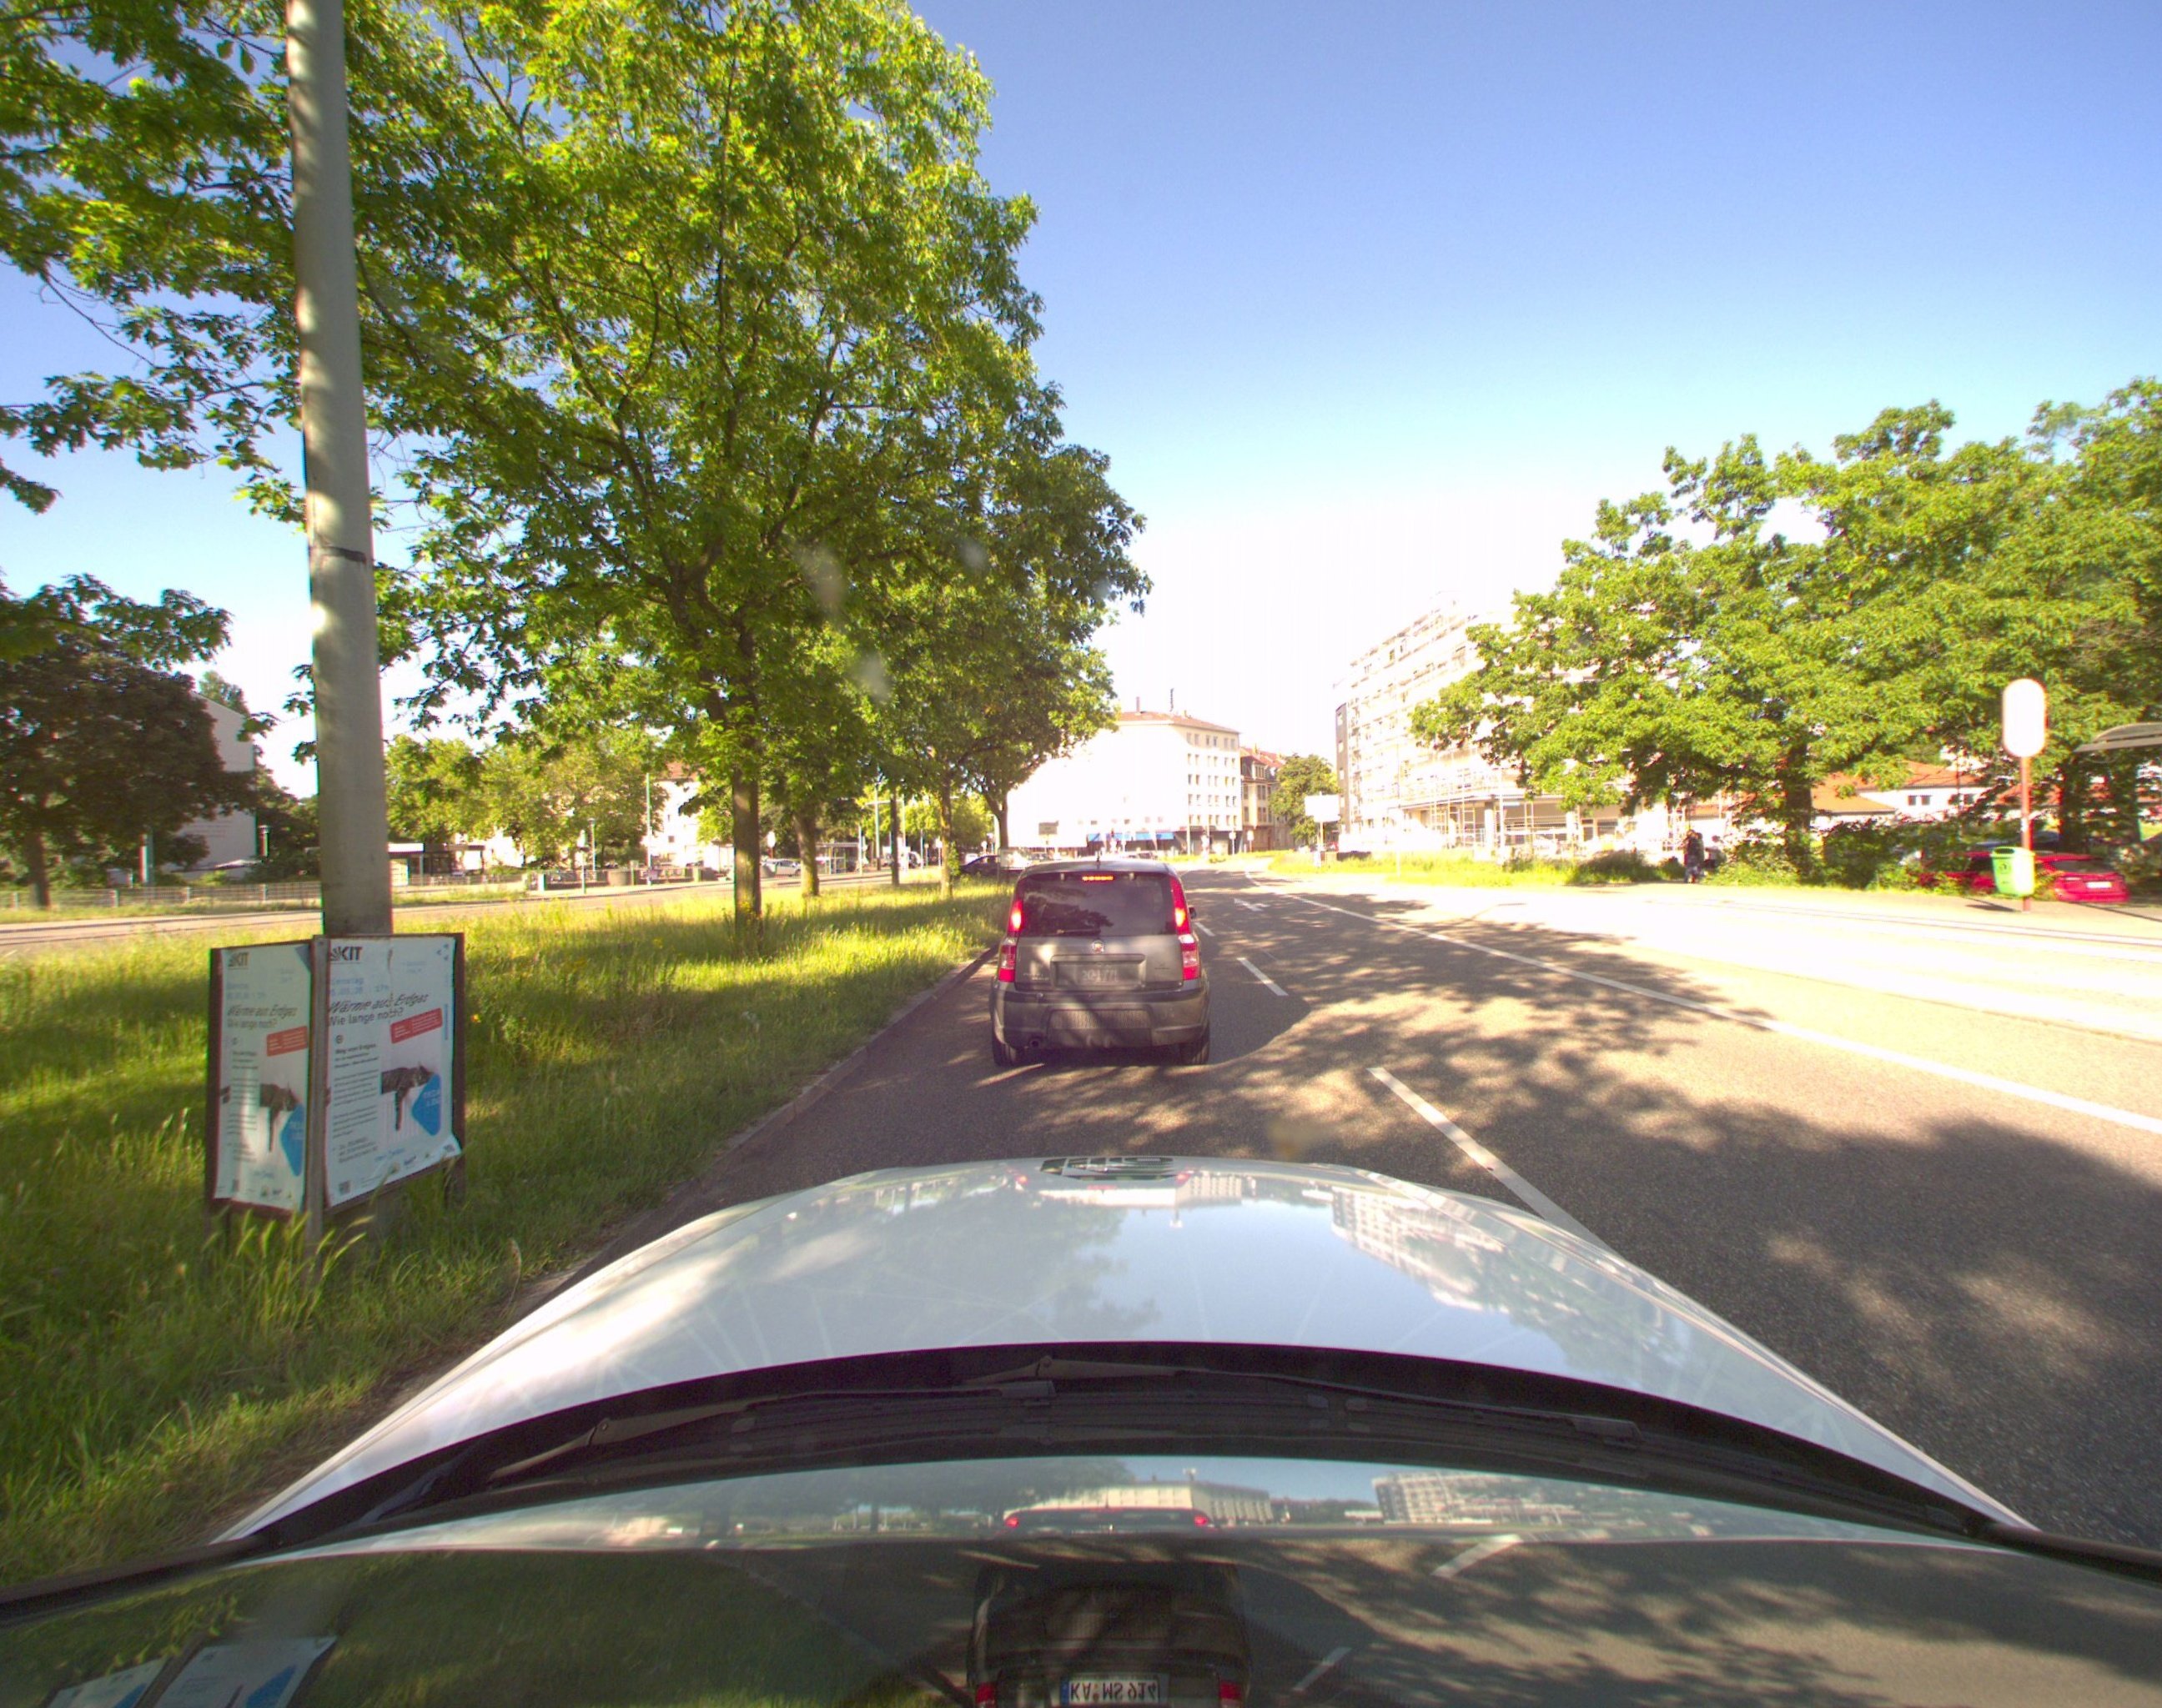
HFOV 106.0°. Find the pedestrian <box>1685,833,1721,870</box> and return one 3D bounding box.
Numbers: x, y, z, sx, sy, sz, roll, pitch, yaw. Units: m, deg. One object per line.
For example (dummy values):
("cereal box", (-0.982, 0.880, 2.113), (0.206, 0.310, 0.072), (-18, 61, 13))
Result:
("pedestrian", (28.869, -0.113, 37.808), (0.893, 1.653, 0.979), (-2, 0, -26))

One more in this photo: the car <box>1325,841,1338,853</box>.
("car", (32.810, -0.892, 106.635), (1.514, 1.469, 3.304), (-2, 0, 20))

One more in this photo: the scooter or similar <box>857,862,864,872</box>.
("scooter or similar", (-20.962, 1.192, 77.381), (0.416, 0.927, 0.537), (-2, 0, 28))

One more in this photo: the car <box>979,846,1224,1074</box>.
("car", (0.201, 0.706, 7.541), (1.622, 1.508, 4.002), (-2, 0, 2))

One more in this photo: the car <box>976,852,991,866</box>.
("car", (-14.838, 0.710, 124.167), (1.988, 2.013, 3.997), (-2, 0, -2))

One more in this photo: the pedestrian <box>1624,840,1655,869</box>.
("pedestrian", (28.750, 0.018, 41.917), (0.894, 1.447, 0.960), (-2, 0, -18))

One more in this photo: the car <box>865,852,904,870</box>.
("car", (-23.786, 0.889, 98.821), (4.164, 2.013, 1.931), (-2, 0, -1))

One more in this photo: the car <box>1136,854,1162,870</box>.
("car", (4.863, 0.536, 57.722), (1.133, 1.064, 2.735), (-2, 0, 19))

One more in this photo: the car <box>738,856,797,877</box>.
("car", (-27.319, 1.072, 71.075), (1.974, 1.684, 4.348), (-2, 0, 40))

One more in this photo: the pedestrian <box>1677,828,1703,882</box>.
("pedestrian", (18.523, 0.015, 24.775), (0.516, 1.612, 0.595), (-2, 0, 28))

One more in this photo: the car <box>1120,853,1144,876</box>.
("car", (3.093, 0.622, 49.641), (1.351, 1.281, 2.877), (-2, 0, 2))

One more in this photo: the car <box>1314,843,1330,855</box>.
("car", (27.627, -0.590, 93.432), (1.514, 1.314, 3.304), (-2, 0, 20))

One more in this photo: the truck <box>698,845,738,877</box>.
("truck", (-33.075, 0.635, 74.212), (2.012, 2.805, 3.951), (-2, 0, -44))

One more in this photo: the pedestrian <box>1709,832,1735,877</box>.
("pedestrian", (20.895, 0.015, 26.553), (0.516, 1.447, 0.595), (-2, 0, 28))

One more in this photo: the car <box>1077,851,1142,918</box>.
("car", (0.721, 0.701, 20.734), (1.458, 1.508, 3.506), (-2, 0, 2))

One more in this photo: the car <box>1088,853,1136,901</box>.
("car", (1.026, 0.730, 27.361), (1.458, 1.424, 3.383), (-2, 1, 2))

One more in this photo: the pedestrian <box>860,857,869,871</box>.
("pedestrian", (-20.699, 0.961, 77.894), (0.411, 1.391, 0.630), (-2, 0, 28))

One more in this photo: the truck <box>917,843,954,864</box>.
("truck", (-23.004, -0.141, 128.579), (5.425, 3.168, 2.358), (-2, 0, 30))

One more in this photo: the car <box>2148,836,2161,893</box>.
("car", (29.860, 0.259, 20.183), (1.911, 1.486, 3.725), (-2, 0, -17))

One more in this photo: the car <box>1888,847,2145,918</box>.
("car", (21.984, 0.599, 19.380), (1.747, 1.486, 3.743), (-2, 0, -2))

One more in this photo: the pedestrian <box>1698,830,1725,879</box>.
("pedestrian", (19.177, 0.009, 24.771), (0.516, 1.447, 0.595), (-2, 0, 28))

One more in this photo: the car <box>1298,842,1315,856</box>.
("car", (24.916, -0.539, 90.002), (1.669, 1.449, 3.588), (-2, 0, 18))

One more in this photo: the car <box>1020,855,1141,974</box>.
("car", (0.046, 0.753, 11.769), (1.458, 1.401, 3.395), (-2, 0, 2))

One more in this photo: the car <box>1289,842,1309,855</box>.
("car", (25.875, -0.618, 96.682), (1.666, 1.449, 3.593), (-2, 0, 26))

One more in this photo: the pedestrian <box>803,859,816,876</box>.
("pedestrian", (-26.213, 1.257, 78.593), (0.910, 1.607, 0.802), (-2, 0, 41))

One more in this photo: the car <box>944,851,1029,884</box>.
("car", (-5.188, 0.715, 44.476), (4.447, 1.647, 1.825), (-2, 0, -11))

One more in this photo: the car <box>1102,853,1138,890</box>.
("car", (1.599, 0.694, 33.974), (1.351, 1.449, 3.267), (-2, 0, 2))
